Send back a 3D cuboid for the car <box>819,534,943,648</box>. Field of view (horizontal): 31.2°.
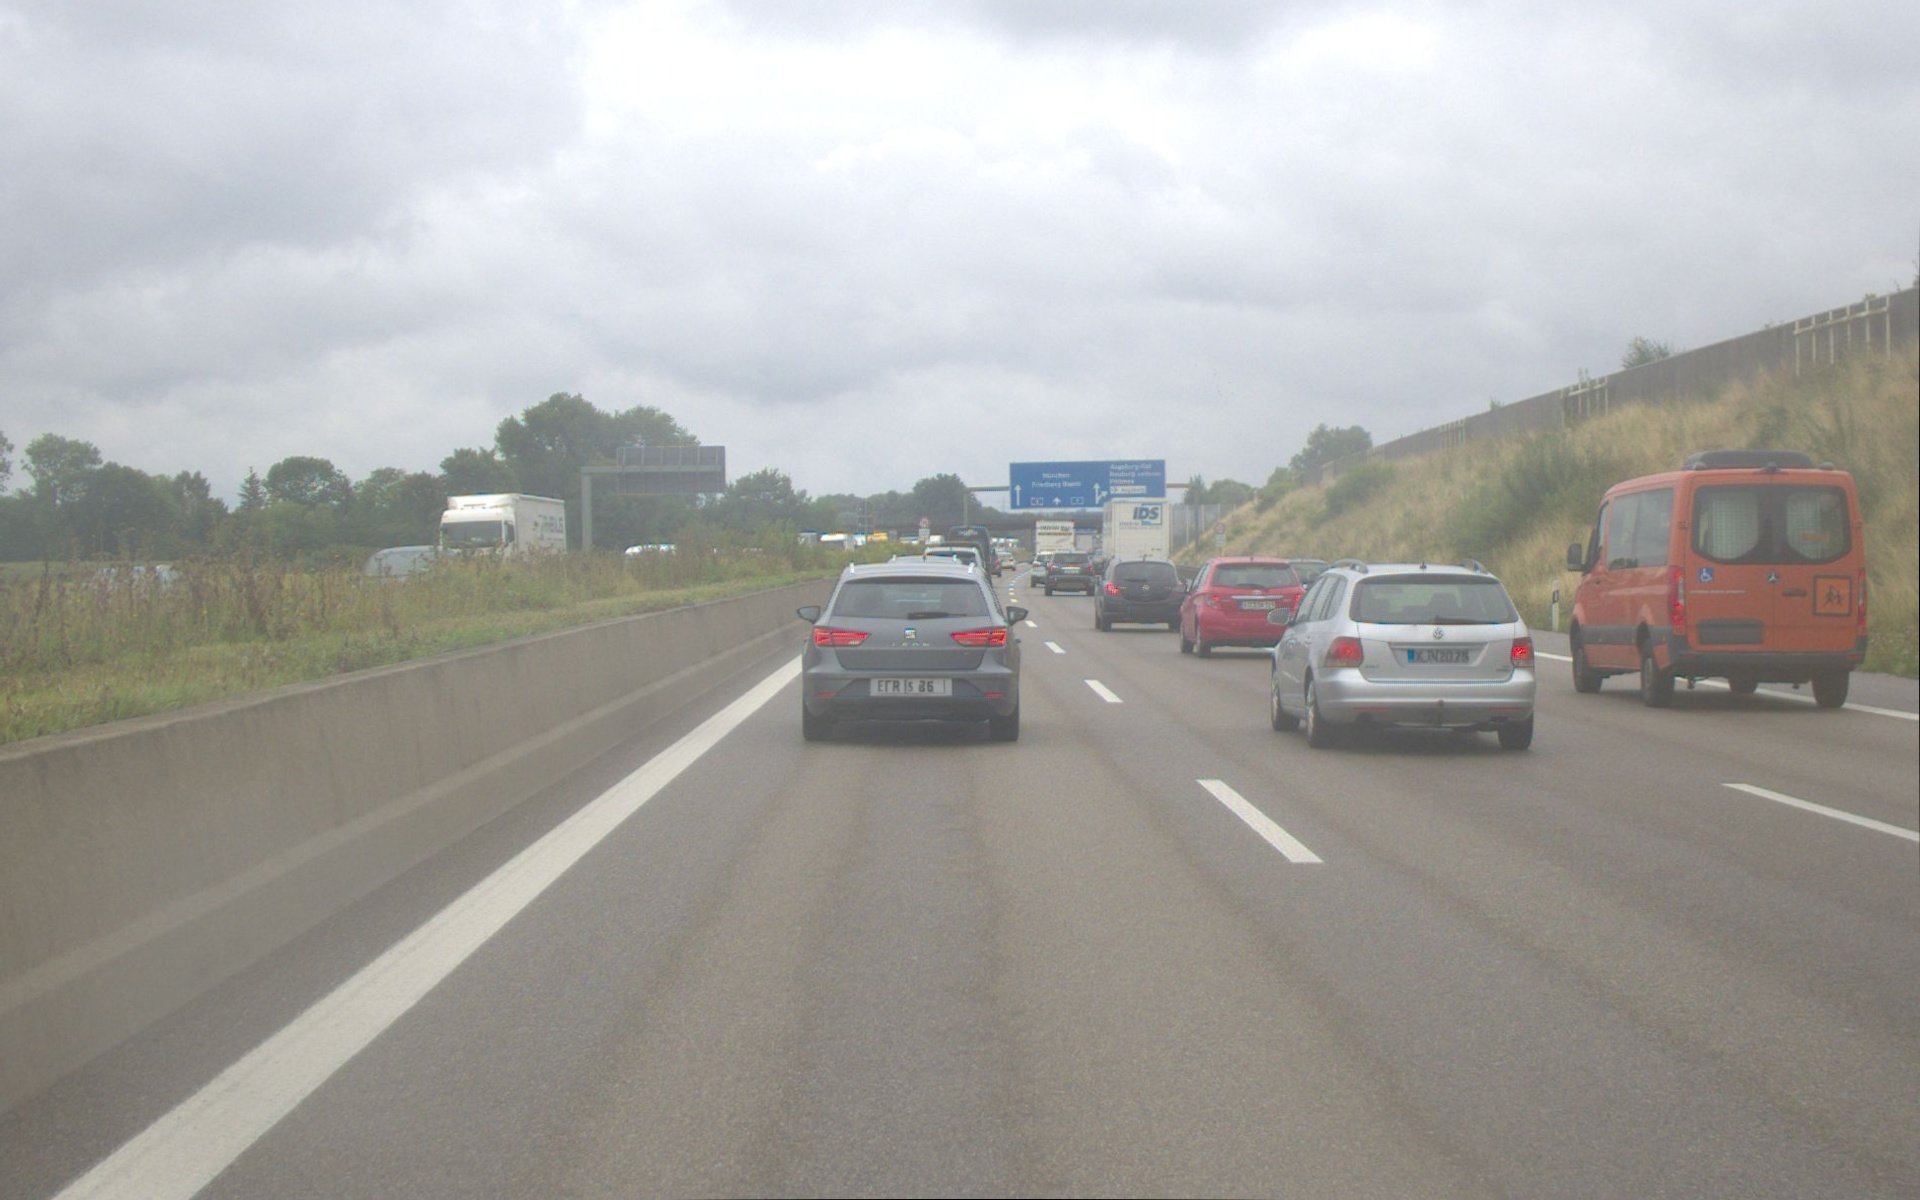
[{"bbox_3d":[-1.234,-0.161,55.190,1.754,1.744,4.000,1,1,2],"label":"car"}]

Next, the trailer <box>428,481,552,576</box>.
[{"bbox_3d":[-17.909,-2.672,131.894,2.914,3.417,13.242,1,1,0],"label":"trailer"}]

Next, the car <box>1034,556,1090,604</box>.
[{"bbox_3d":[3.666,-0.725,123.935,1.845,1.681,4.000,1,1,-1],"label":"car"}]

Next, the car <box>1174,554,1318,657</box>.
[{"bbox_3d":[4.265,0.047,51.901,1.891,1.442,4.685,0,1,1],"label":"car"}]

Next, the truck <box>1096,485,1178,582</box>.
[{"bbox_3d":[8.271,-3.069,162.590,3.283,4.280,19.033,1,1,1],"label":"truck"}]

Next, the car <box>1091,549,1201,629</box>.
[{"bbox_3d":[3.661,-0.245,68.250,1.921,1.516,4.622,0,1,0],"label":"car"}]

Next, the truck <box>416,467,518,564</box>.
[{"bbox_3d":[-17.931,-3.056,125.332,2.969,3.417,5.628,1,1,-1],"label":"truck"}]

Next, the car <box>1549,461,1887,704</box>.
[{"bbox_3d":[7.773,-0.227,35.935,2.086,2.307,6.182,0,1,-1],"label":"car"}]

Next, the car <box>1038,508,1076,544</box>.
[{"bbox_3d":[5.543,-4.232,197.091,1.993,2.007,4.000,-1,1,-1],"label":"car"}]

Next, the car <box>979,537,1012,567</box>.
[{"bbox_3d":[2.199,-2.982,212.299,1.993,1.807,4.597,0,1,0],"label":"car"}]

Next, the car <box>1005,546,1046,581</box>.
[{"bbox_3d":[2.907,-1.640,153.473,1.751,1.512,4.000,-1,1,0],"label":"car"}]

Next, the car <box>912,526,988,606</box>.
[{"bbox_3d":[-0.212,-0.818,81.662,1.704,1.790,3.855,-2,1,1],"label":"car"}]

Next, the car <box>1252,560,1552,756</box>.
[{"bbox_3d":[3.495,0.405,27.936,1.742,1.420,4.517,-1,1,-1],"label":"car"}]

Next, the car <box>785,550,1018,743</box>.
[{"bbox_3d":[-0.417,0.336,28.348,1.768,1.462,4.000,1,1,1],"label":"car"}]
